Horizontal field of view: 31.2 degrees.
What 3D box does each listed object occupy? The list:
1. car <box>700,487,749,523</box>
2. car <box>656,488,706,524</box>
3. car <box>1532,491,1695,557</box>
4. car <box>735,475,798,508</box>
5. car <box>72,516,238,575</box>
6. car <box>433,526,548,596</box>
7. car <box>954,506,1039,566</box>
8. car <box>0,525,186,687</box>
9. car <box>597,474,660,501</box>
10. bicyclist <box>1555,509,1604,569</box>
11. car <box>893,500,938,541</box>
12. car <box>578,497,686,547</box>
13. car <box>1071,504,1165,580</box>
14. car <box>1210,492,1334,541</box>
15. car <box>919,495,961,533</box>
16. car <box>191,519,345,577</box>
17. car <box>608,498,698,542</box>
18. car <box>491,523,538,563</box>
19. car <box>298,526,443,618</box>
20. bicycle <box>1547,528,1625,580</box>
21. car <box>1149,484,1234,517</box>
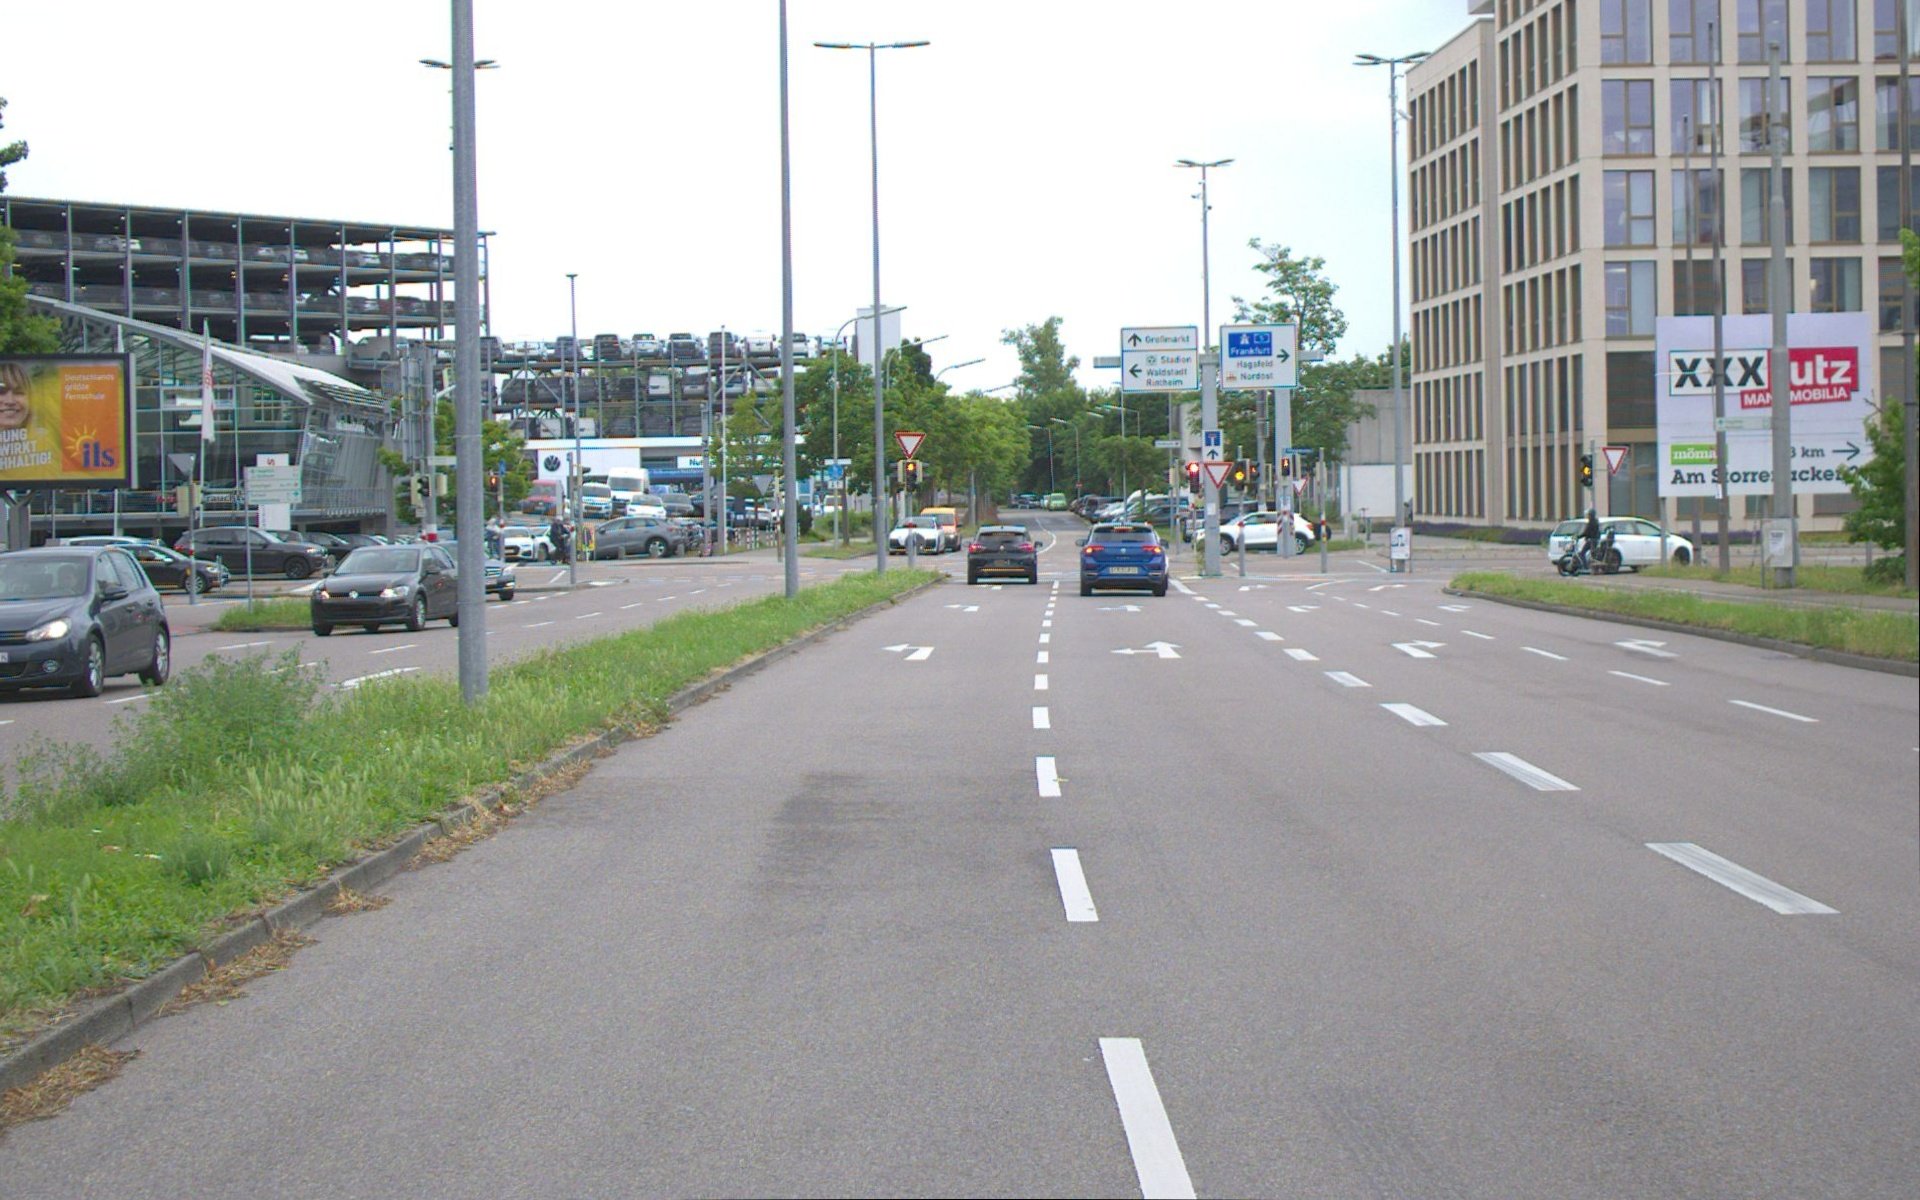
[{"bbox_3d":[-11.891,-4.795,173.681,1.776,1.700,3.916,0,3,6],"label":"car"},{"bbox_3d":[-14.082,-4.771,173.695,1.776,1.700,3.916,0,3,6],"label":"car"},{"bbox_3d":[17.738,-2.076,93.231,4.167,1.746,2.000,-1,1,-35],"label":"car"},{"bbox_3d":[-10.346,-5.794,183.527,3.295,1.635,1.480,-1,3,-2],"label":"car"},{"bbox_3d":[-23.173,-1.585,99.110,4.415,1.654,2.000,0,1,-5],"label":"car"},{"bbox_3d":[-10.889,-0.925,80.035,1.791,1.474,4.531,-2,1,3],"label":"car"},{"bbox_3d":[0.884,-1.573,85.451,1.987,1.423,4.241,-1,0,-1],"label":"car"},{"bbox_3d":[-9.002,0.032,33.800,1.780,1.450,4.182,-2,1,0],"label":"car"},{"bbox_3d":[-19.726,-6.711,204.699,3.662,1.523,1.615,-1,3,-6],"label":"car"},{"bbox_3d":[15.571,-1.544,86.438,0.700,1.498,1.000,-1,2,-35],"label":"bicyclist"},{"bbox_3d":[-1.729,-3.076,133.270,1.600,1.448,3.324,-1,3,1],"label":"car"},{"bbox_3d":[-12.356,-2.955,129.657,3.986,1.784,1.848,-1,3,-3],"label":"car"},{"bbox_3d":[3.312,-1.249,72.652,1.835,1.509,4.000,-1,2,1],"label":"car"},{"bbox_3d":[10.648,-2.864,117.581,3.941,1.562,1.760,-1,3,-6],"label":"car"},{"bbox_3d":[-0.824,-3.559,141.383,1.600,1.448,3.324,-1,3,1],"label":"car"},{"bbox_3d":[-21.325,-1.621,106.077,4.402,1.638,2.001,-1,3,-4],"label":"car"},{"bbox_3d":[-12.529,-3.274,140.388,3.605,1.662,1.549,-1,3,-3],"label":"car"},{"bbox_3d":[-16.200,-2.071,124.929,1.370,1.321,3.035,-1,3,-13],"label":"car"},{"bbox_3d":[-9.730,-0.494,57.006,1.930,1.450,4.183,0,1,-4],"label":"car"},{"bbox_3d":[15.712,-1.162,86.269,0.700,1.291,2.011,-1,2,-35],"label":"bicycle"},{"bbox_3d":[10.797,-4.620,160.163,3.607,1.473,1.758,1,3,21],"label":"car"}]
